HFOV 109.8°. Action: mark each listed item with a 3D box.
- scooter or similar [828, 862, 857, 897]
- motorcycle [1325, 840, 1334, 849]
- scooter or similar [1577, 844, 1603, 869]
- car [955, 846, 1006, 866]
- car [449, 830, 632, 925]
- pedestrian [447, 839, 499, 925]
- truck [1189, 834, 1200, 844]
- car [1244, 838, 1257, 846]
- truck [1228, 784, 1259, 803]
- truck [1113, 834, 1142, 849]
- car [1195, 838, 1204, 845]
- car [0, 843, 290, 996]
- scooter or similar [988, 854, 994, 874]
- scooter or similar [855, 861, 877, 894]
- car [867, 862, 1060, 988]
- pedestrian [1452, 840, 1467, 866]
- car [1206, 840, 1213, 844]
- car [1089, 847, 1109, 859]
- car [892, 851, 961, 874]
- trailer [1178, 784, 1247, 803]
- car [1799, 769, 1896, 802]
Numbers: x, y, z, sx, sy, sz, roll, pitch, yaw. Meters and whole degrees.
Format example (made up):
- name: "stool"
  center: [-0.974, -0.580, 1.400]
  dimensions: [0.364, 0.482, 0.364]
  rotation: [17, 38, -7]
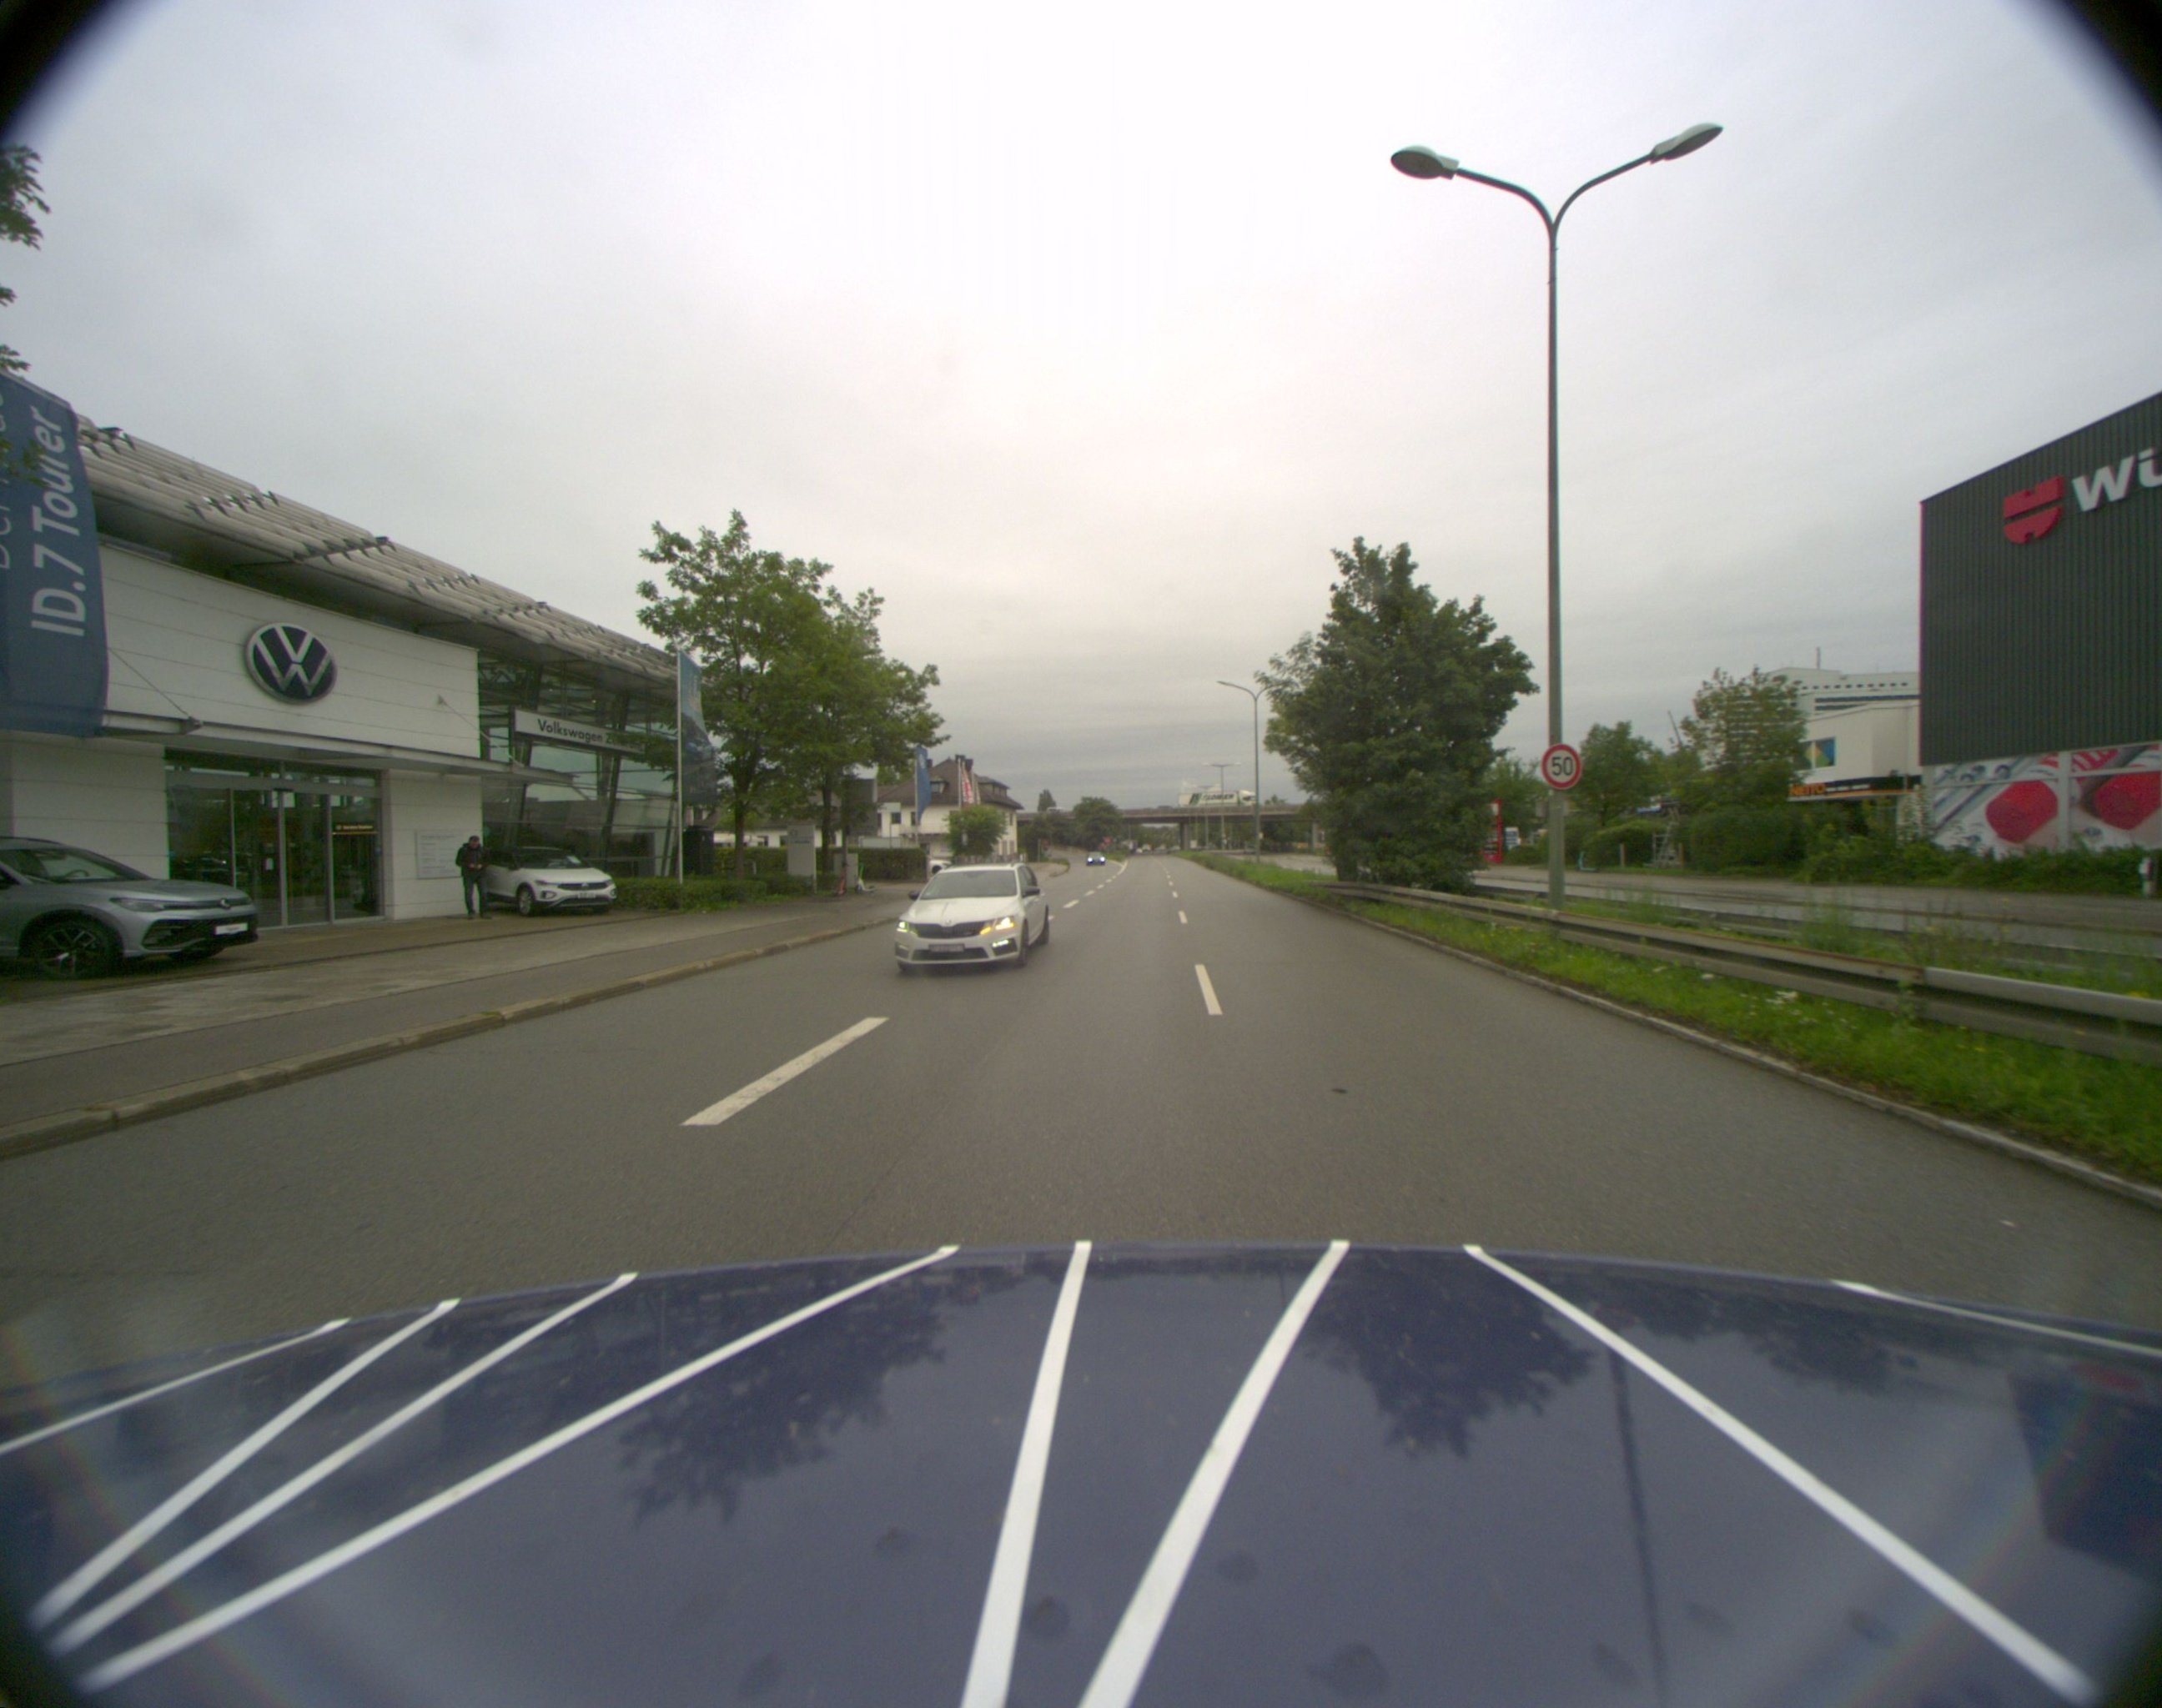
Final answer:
- name: "scooter or similar"
  center: [-8.596, 0.907, 27.417]
  dimensions: [0.497, 1.198, 1.430]
  rotation: [2, 0, 3]
- name: "motorcycle"
  center: [31.257, -1.173, 95.594]
  dimensions: [0.534, 1.169, 2.196]
  rotation: [-1, 1, 5]
- name: "scooter or similar"
  center: [24.809, 0.112, 37.042]
  dimensions: [0.446, 1.220, 1.387]
  rotation: [-1, 1, 4]
- name: "car"
  center: [-8.905, 0.179, 67.604]
  dimensions: [4.105, 1.716, 1.927]
  rotation: [-1, 1, 4]
- name: "car"
  center: [-13.026, 0.451, 18.271]
  dimensions: [4.249, 2.002, 1.966]
  rotation: [2, 2, 30]
- name: "pedestrian"
  center: [-12.959, 0.575, 16.202]
  dimensions: [0.808, 1.766, 0.714]
  rotation: [-2, 1, -39]
- name: "truck"
  center: [33.767, -4.441, 226.242]
  dimensions: [2.258, 2.960, 7.232]
  rotation: [1, 2, 2]
- name: "car"
  center: [32.039, -2.281, 143.613]
  dimensions: [1.997, 1.563, 4.575]
  rotation: [0, 1, 6]
- name: "truck"
  center: [30.480, -11.392, 142.752]
  dimensions: [5.179, 3.228, 2.602]
  rotation: [1, 3, 44]
- name: "truck"
  center: [15.695, -4.264, 257.006]
  dimensions: [9.571, 4.566, 2.805]
  rotation: [4, 3, 36]
- name: "car"
  center: [32.749, -3.459, 209.254]
  dimensions: [1.973, 1.574, 4.591]
  rotation: [2, 2, 3]
- name: "car"
  center: [-13.427, 0.737, 9.426]
  dimensions: [4.606, 1.697, 2.004]
  rotation: [0, 2, -15]
- name: "scooter or similar"
  center: [-6.004, 0.663, 50.644]
  dimensions: [0.398, 1.216, 1.638]
  rotation: [1, 2, -7]
- name: "scooter or similar"
  center: [-8.399, 0.906, 29.673]
  dimensions: [0.497, 1.198, 1.429]
  rotation: [2, 1, -4]
- name: "car"
  center: [-1.561, 0.931, 11.886]
  dimensions: [1.914, 1.439, 4.557]
  rotation: [-3, 0, 5]
- name: "pedestrian"
  center: [25.848, -0.070, 51.894]
  dimensions: [0.623, 1.819, 0.817]
  rotation: [-1, 1, 6]
- name: "car"
  center: [40.361, -3.815, 238.803]
  dimensions: [1.973, 1.389, 4.817]
  rotation: [0, 2, 5]
- name: "car"
  center: [1.956, -0.115, 82.483]
  dimensions: [1.710, 1.281, 3.998]
  rotation: [-1, 1, -4]
- name: "car"
  center: [-10.043, 0.533, 49.585]
  dimensions: [4.022, 1.452, 1.794]
  rotation: [-1, 1, 6]
- name: "trailer"
  center: [25.390, -11.671, 147.676]
  dimensions: [14.017, 3.280, 2.671]
  rotation: [2, 4, 44]
- name: "car"
  center: [58.530, -5.230, 58.078]
  dimensions: [4.792, 2.357, 2.135]
  rotation: [1, 4, 7]
